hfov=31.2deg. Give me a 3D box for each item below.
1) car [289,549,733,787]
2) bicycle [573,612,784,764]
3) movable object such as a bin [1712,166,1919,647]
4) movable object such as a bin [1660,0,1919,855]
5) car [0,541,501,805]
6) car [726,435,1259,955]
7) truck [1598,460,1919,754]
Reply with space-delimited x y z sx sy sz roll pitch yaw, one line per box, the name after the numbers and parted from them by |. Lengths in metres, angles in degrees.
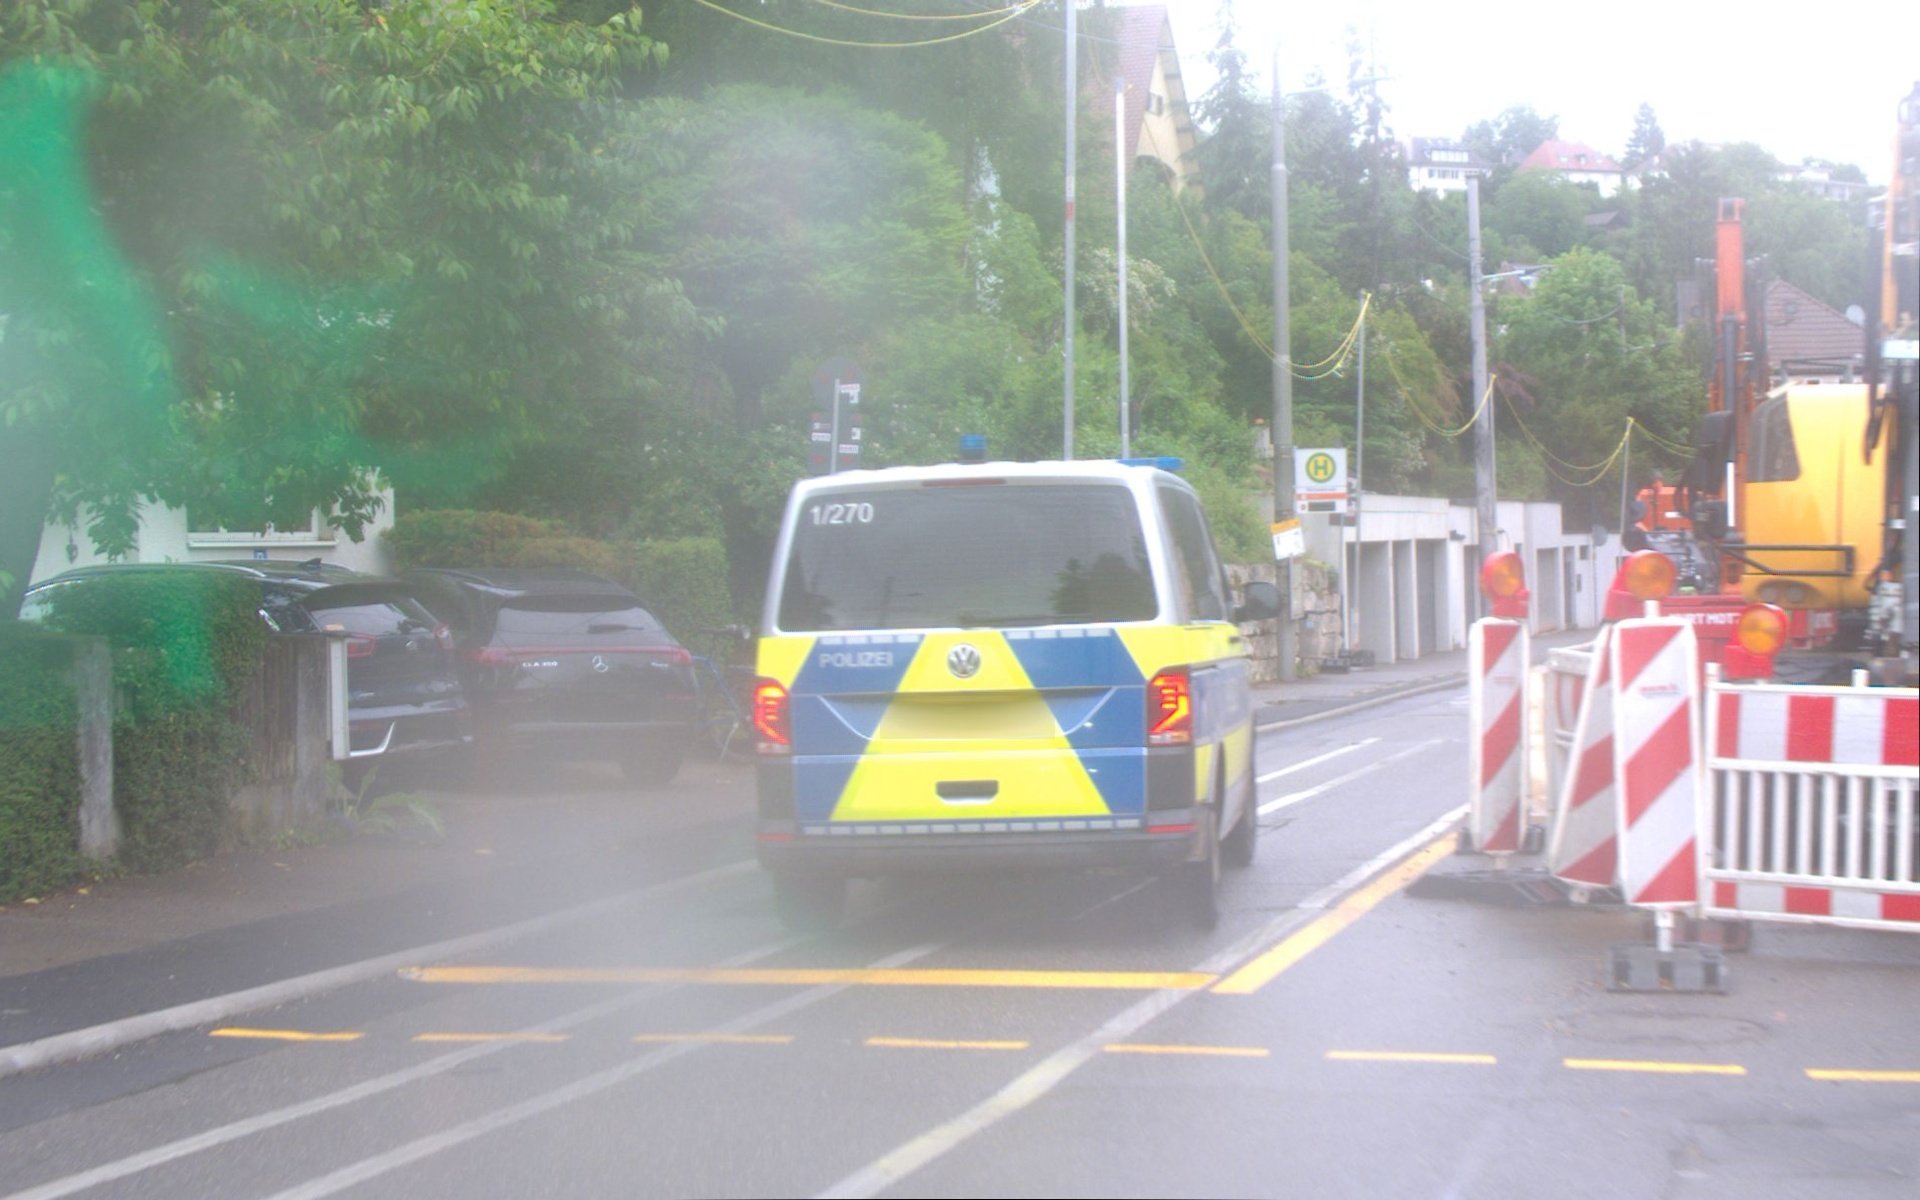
-3.238 0.431 24.142 1.780 1.520 4.000 1 0 -28 | car
-2.150 0.659 26.194 1.621 1.127 0.442 0 0 28 | bicycle
12.163 -2.082 39.432 3.691 5.049 7.145 -2 -1 43 | movable object such as a bin
5.383 -0.960 17.842 2.881 4.156 4.483 -1 1 18 | movable object such as a bin
-5.108 0.419 21.530 3.992 1.520 1.938 0 0 24 | car
0.308 0.372 15.575 1.908 2.004 4.438 0 0 7 | car
6.424 0.068 26.881 2.552 2.101 3.302 -2 -1 14 | truck
